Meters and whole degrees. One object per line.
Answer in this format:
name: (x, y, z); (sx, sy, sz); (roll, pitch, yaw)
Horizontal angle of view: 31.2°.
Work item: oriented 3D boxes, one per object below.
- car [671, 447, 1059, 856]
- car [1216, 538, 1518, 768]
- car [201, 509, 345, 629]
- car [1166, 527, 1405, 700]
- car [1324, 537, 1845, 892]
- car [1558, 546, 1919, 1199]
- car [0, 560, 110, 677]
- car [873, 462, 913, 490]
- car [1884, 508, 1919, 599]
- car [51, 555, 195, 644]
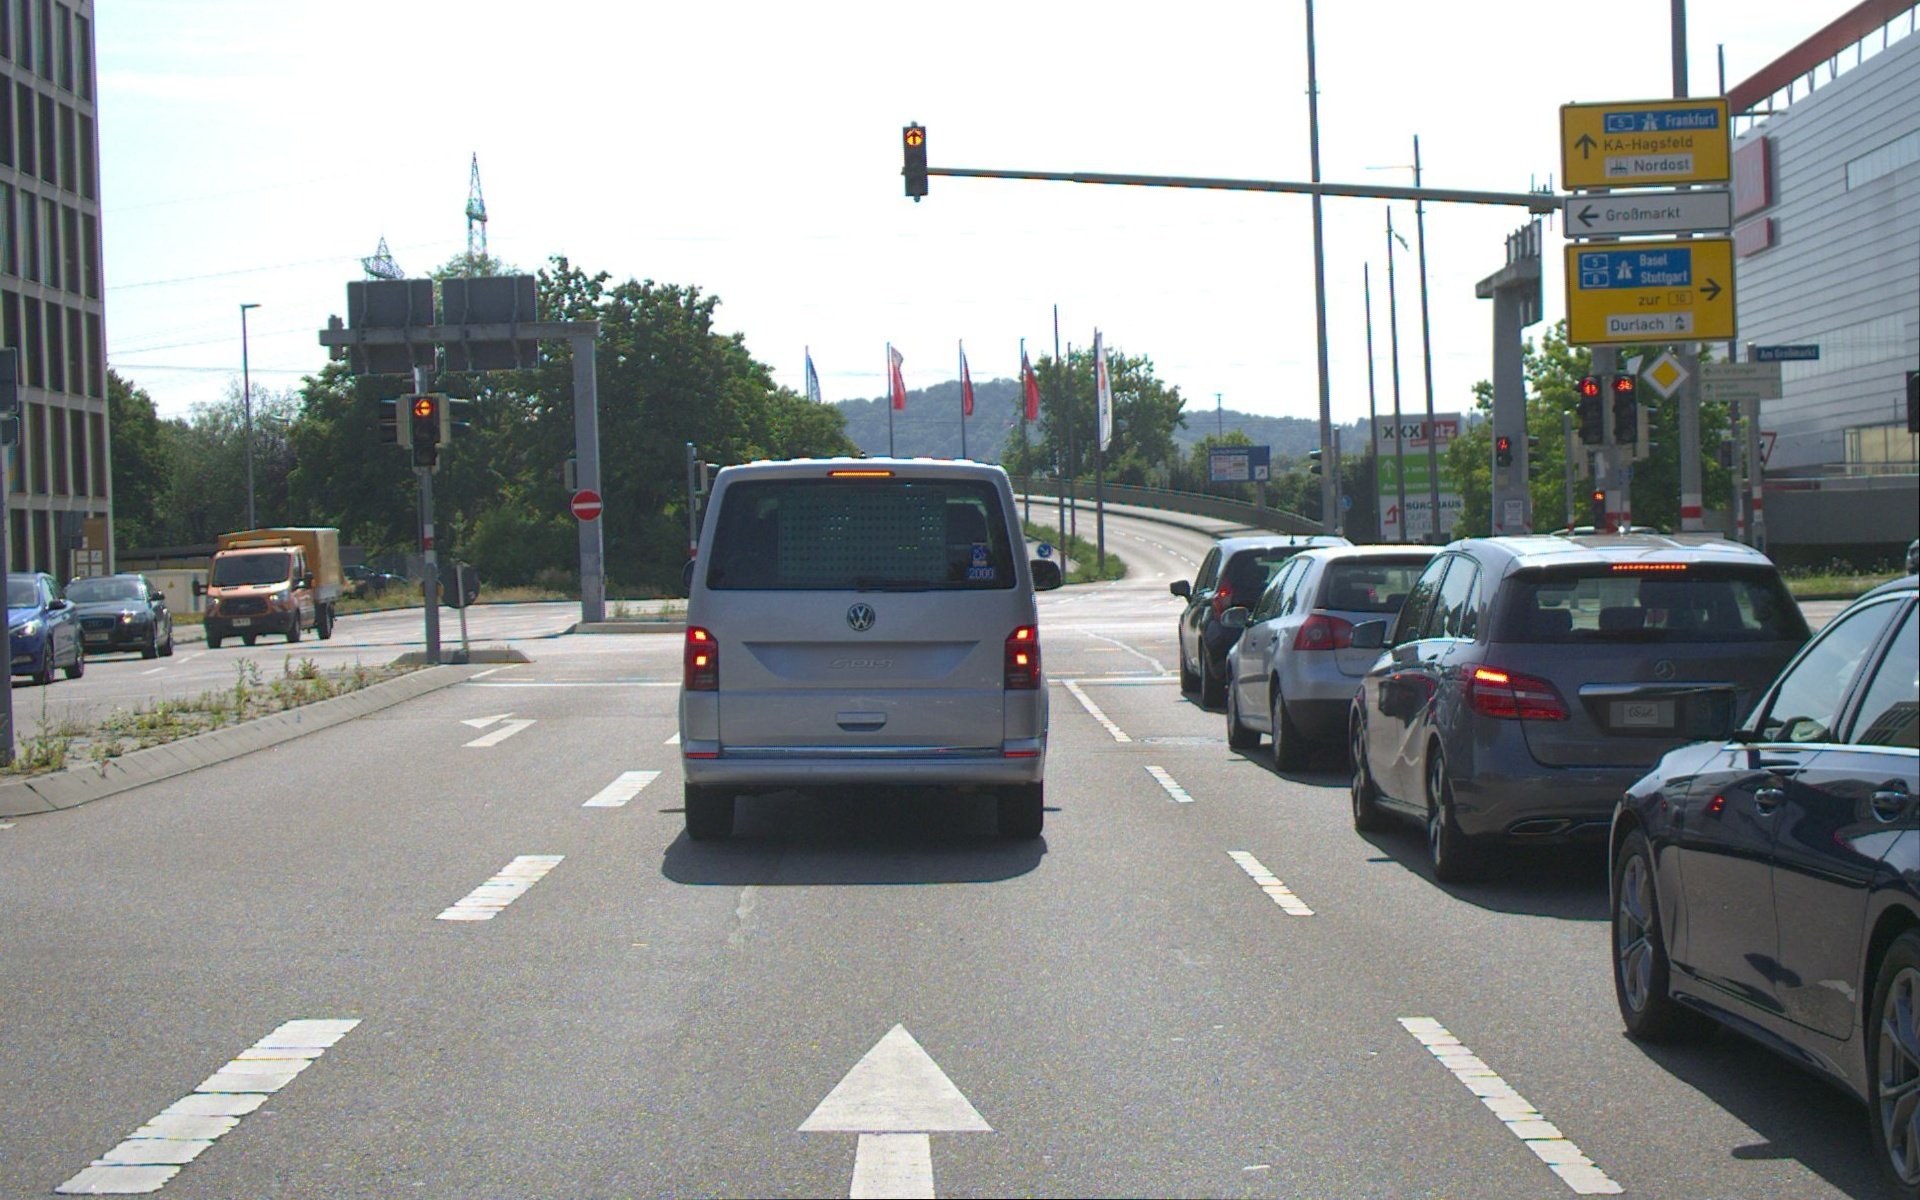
car: (-0.484, 0.213, 18.742); (1.884, 1.983, 4.000); (0, 1, -1)
car: (2.730, 0.305, 23.757); (1.578, 1.453, 3.786); (0, 1, -1)
car: (-15.657, -0.742, 78.748); (2.405, 2.552, 6.897); (-2, 1, -5)
car: (3.007, 0.082, 32.493); (1.836, 1.521, 4.000); (0, 1, -1)
car: (2.892, 0.453, 16.766); (1.746, 1.511, 4.078); (0, 1, -1)
car: (2.822, 0.598, 8.792); (1.746, 1.453, 4.476); (0, 1, -1)
car: (-12.477, 0.227, 45.410); (1.681, 1.353, 3.841); (-2, 2, -3)
car: (-4.932, -9.140, 253.319); (1.993, 2.007, 4.001); (-1, 1, -16)
car: (17.916, -0.914, 58.806); (3.773, 1.513, 1.481); (-4, 1, 4)
car: (-14.391, -0.039, 59.265); (1.576, 1.404, 4.380); (-2, 1, -3)
